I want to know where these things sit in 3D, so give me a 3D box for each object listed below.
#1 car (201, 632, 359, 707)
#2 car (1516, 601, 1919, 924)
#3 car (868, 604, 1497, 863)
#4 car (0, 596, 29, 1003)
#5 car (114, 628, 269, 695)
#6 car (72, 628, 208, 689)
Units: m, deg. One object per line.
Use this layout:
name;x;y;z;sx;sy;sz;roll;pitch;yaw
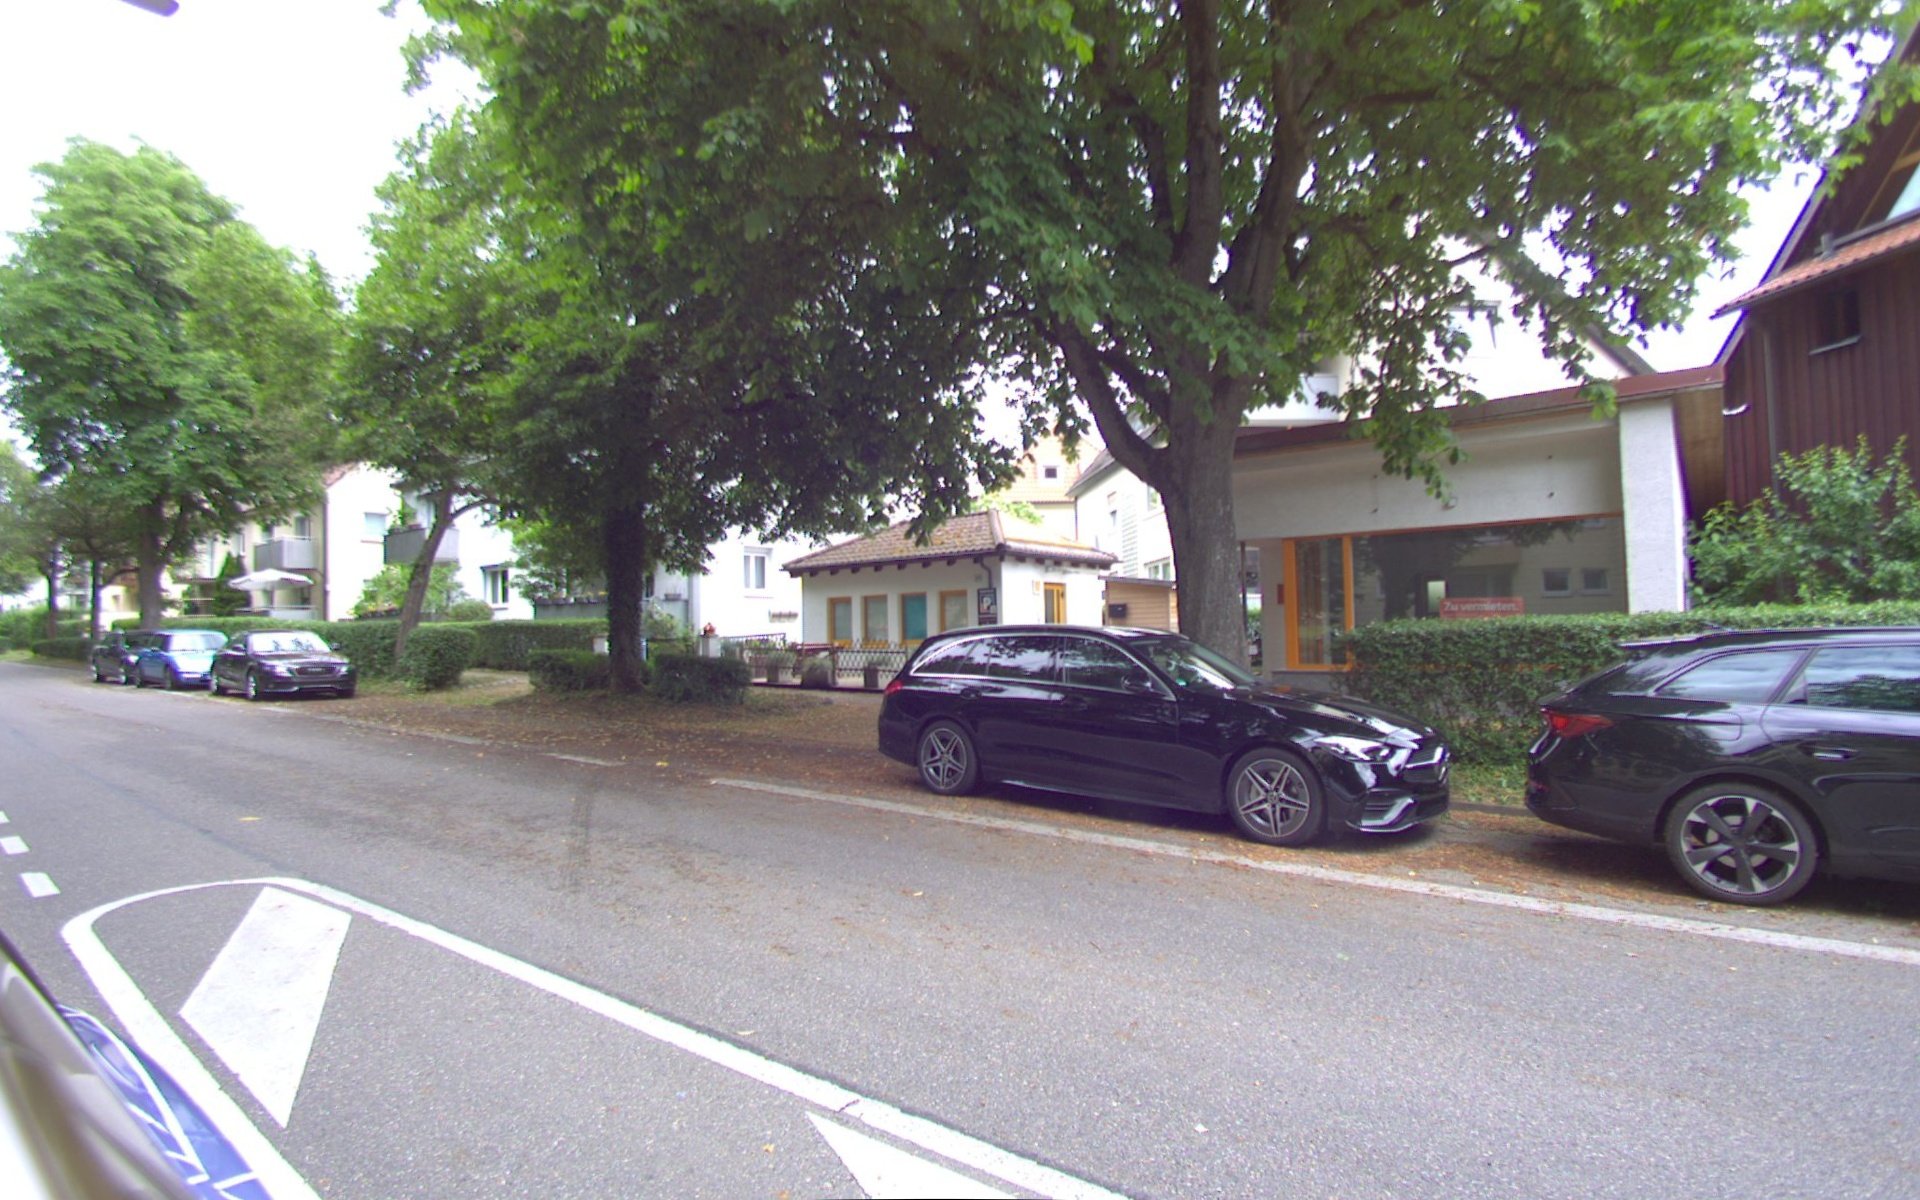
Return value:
car;-14.224;1.384;21.088;4.169;1.414;1.713;-2;-3;41
car;5.450;0.761;4.985;4.536;1.497;1.674;-2;-3;38
car;1.555;0.870;8.197;4.612;1.511;1.973;-2;-3;41
car;-5.922;0.782;4.592;4.612;1.511;1.973;-2;-3;41
car;-18.918;1.470;24.855;4.558;1.512;1.866;-2;-3;37
car;-22.607;1.569;27.847;4.558;1.545;1.866;-2;-3;37
